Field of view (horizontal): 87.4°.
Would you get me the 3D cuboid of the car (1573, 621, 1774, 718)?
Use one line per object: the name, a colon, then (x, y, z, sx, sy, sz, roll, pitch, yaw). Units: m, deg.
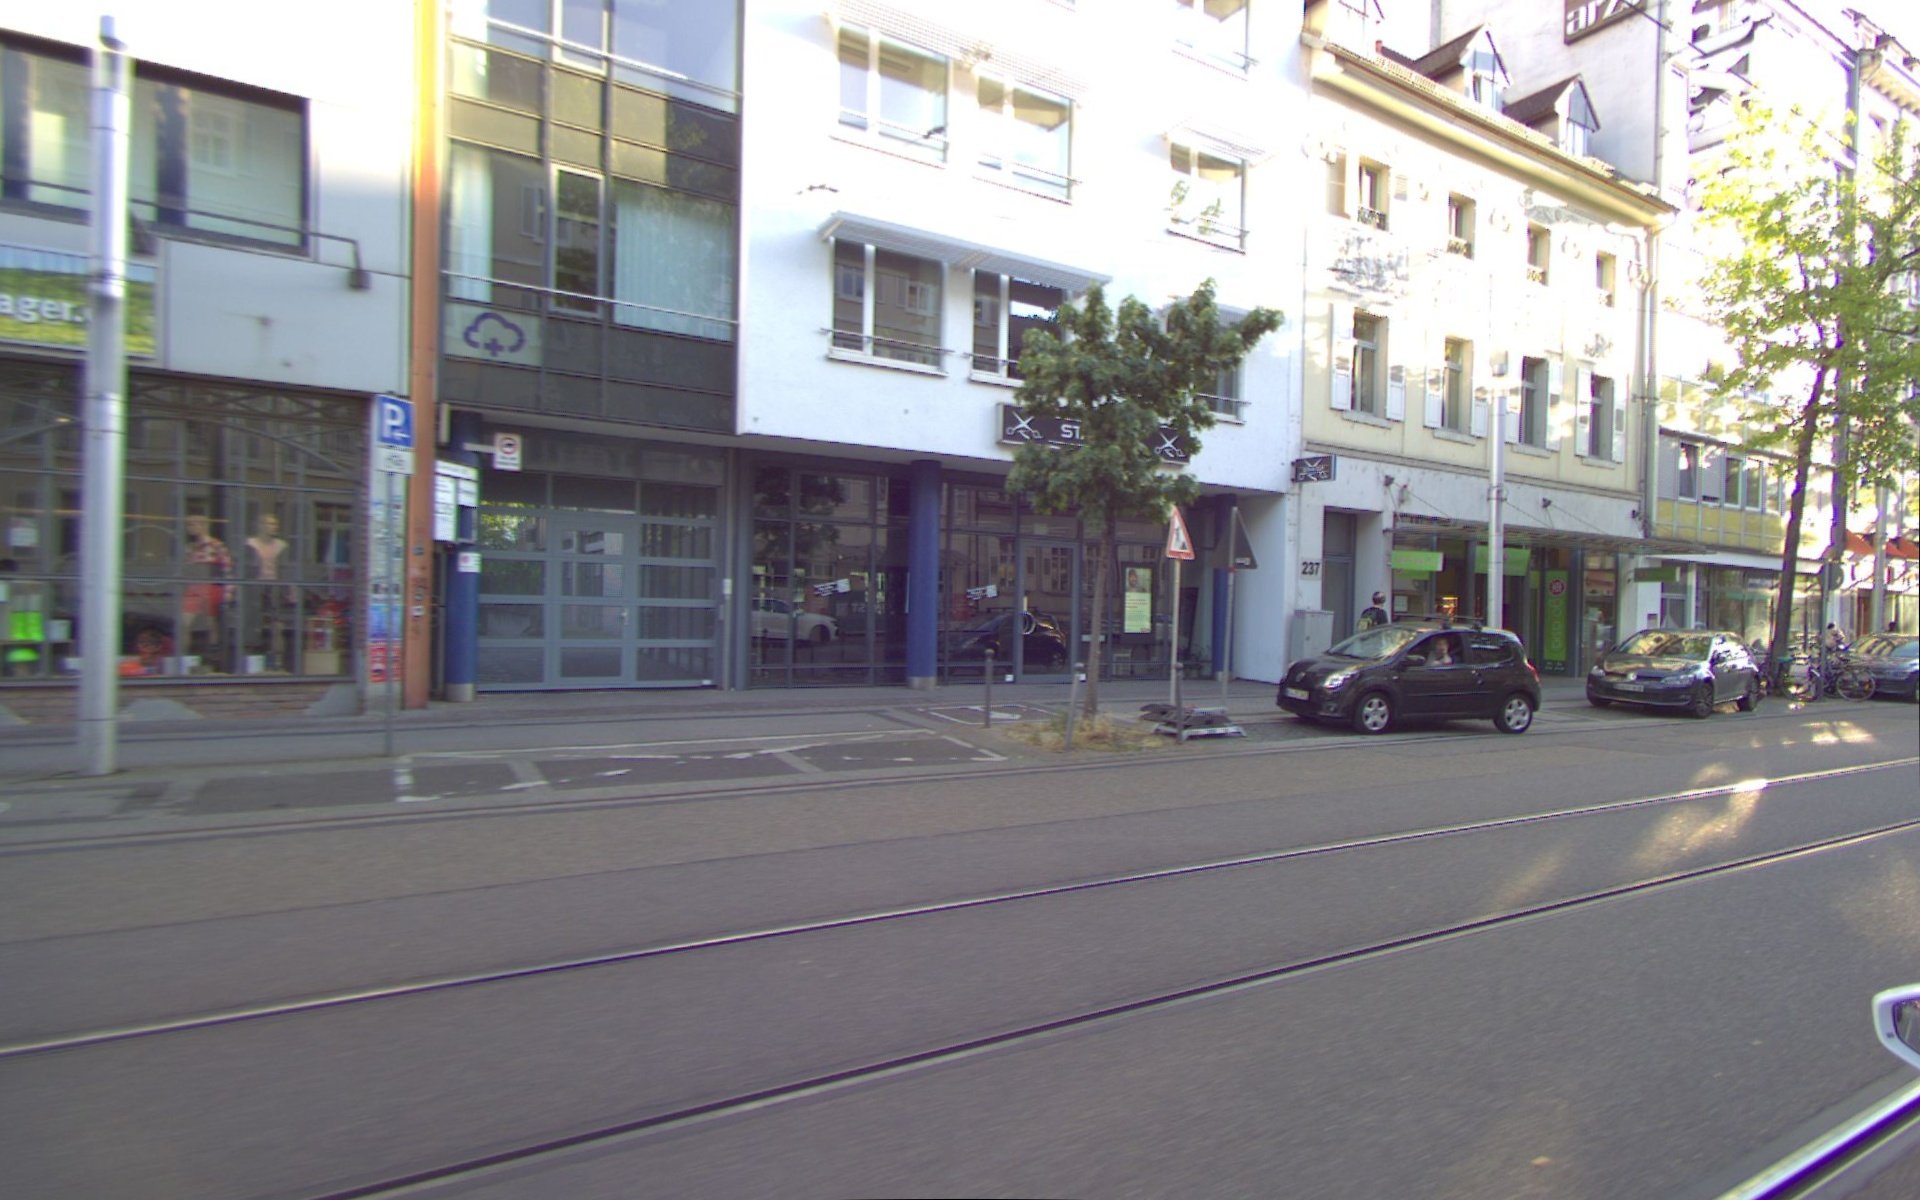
car: (13.228, 1.208, 18.555, 4.203, 1.510, 1.779, 2, 1, -37)

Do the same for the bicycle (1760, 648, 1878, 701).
bicycle: (18.619, 1.603, 21.830, 0.326, 1.014, 1.963, 1, 0, -27)

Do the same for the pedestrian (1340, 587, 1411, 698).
pedestrian: (7.216, 0.720, 17.459, 0.868, 1.850, 0.656, 1, 3, -30)

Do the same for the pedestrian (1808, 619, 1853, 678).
pedestrian: (25.955, 1.437, 29.949, 0.903, 1.716, 0.785, 1, 0, -31)

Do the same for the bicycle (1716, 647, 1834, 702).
bicycle: (17.095, 1.546, 21.129, 0.326, 1.014, 1.963, 1, 0, -27)

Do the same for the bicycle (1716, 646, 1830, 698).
bicycle: (17.920, 1.573, 22.186, 0.414, 1.014, 1.964, 1, 0, -25)

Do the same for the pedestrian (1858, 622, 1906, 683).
pedestrian: (26.687, 1.505, 29.072, 0.732, 1.716, 0.839, 1, 0, -31)

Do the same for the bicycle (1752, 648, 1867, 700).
bicycle: (18.801, 1.610, 22.287, 0.326, 1.014, 1.963, 1, 0, -27)

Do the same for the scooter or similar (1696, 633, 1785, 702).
scooter or similar: (16.209, 1.384, 20.894, 0.370, 1.287, 1.414, 1, 2, -25)

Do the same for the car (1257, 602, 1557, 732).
car: (6.303, 0.915, 14.261, 3.647, 1.638, 1.630, 1, 1, -16)

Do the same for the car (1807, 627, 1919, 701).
car: (21.709, 1.447, 23.325, 4.434, 1.480, 1.703, 2, 1, -30)
